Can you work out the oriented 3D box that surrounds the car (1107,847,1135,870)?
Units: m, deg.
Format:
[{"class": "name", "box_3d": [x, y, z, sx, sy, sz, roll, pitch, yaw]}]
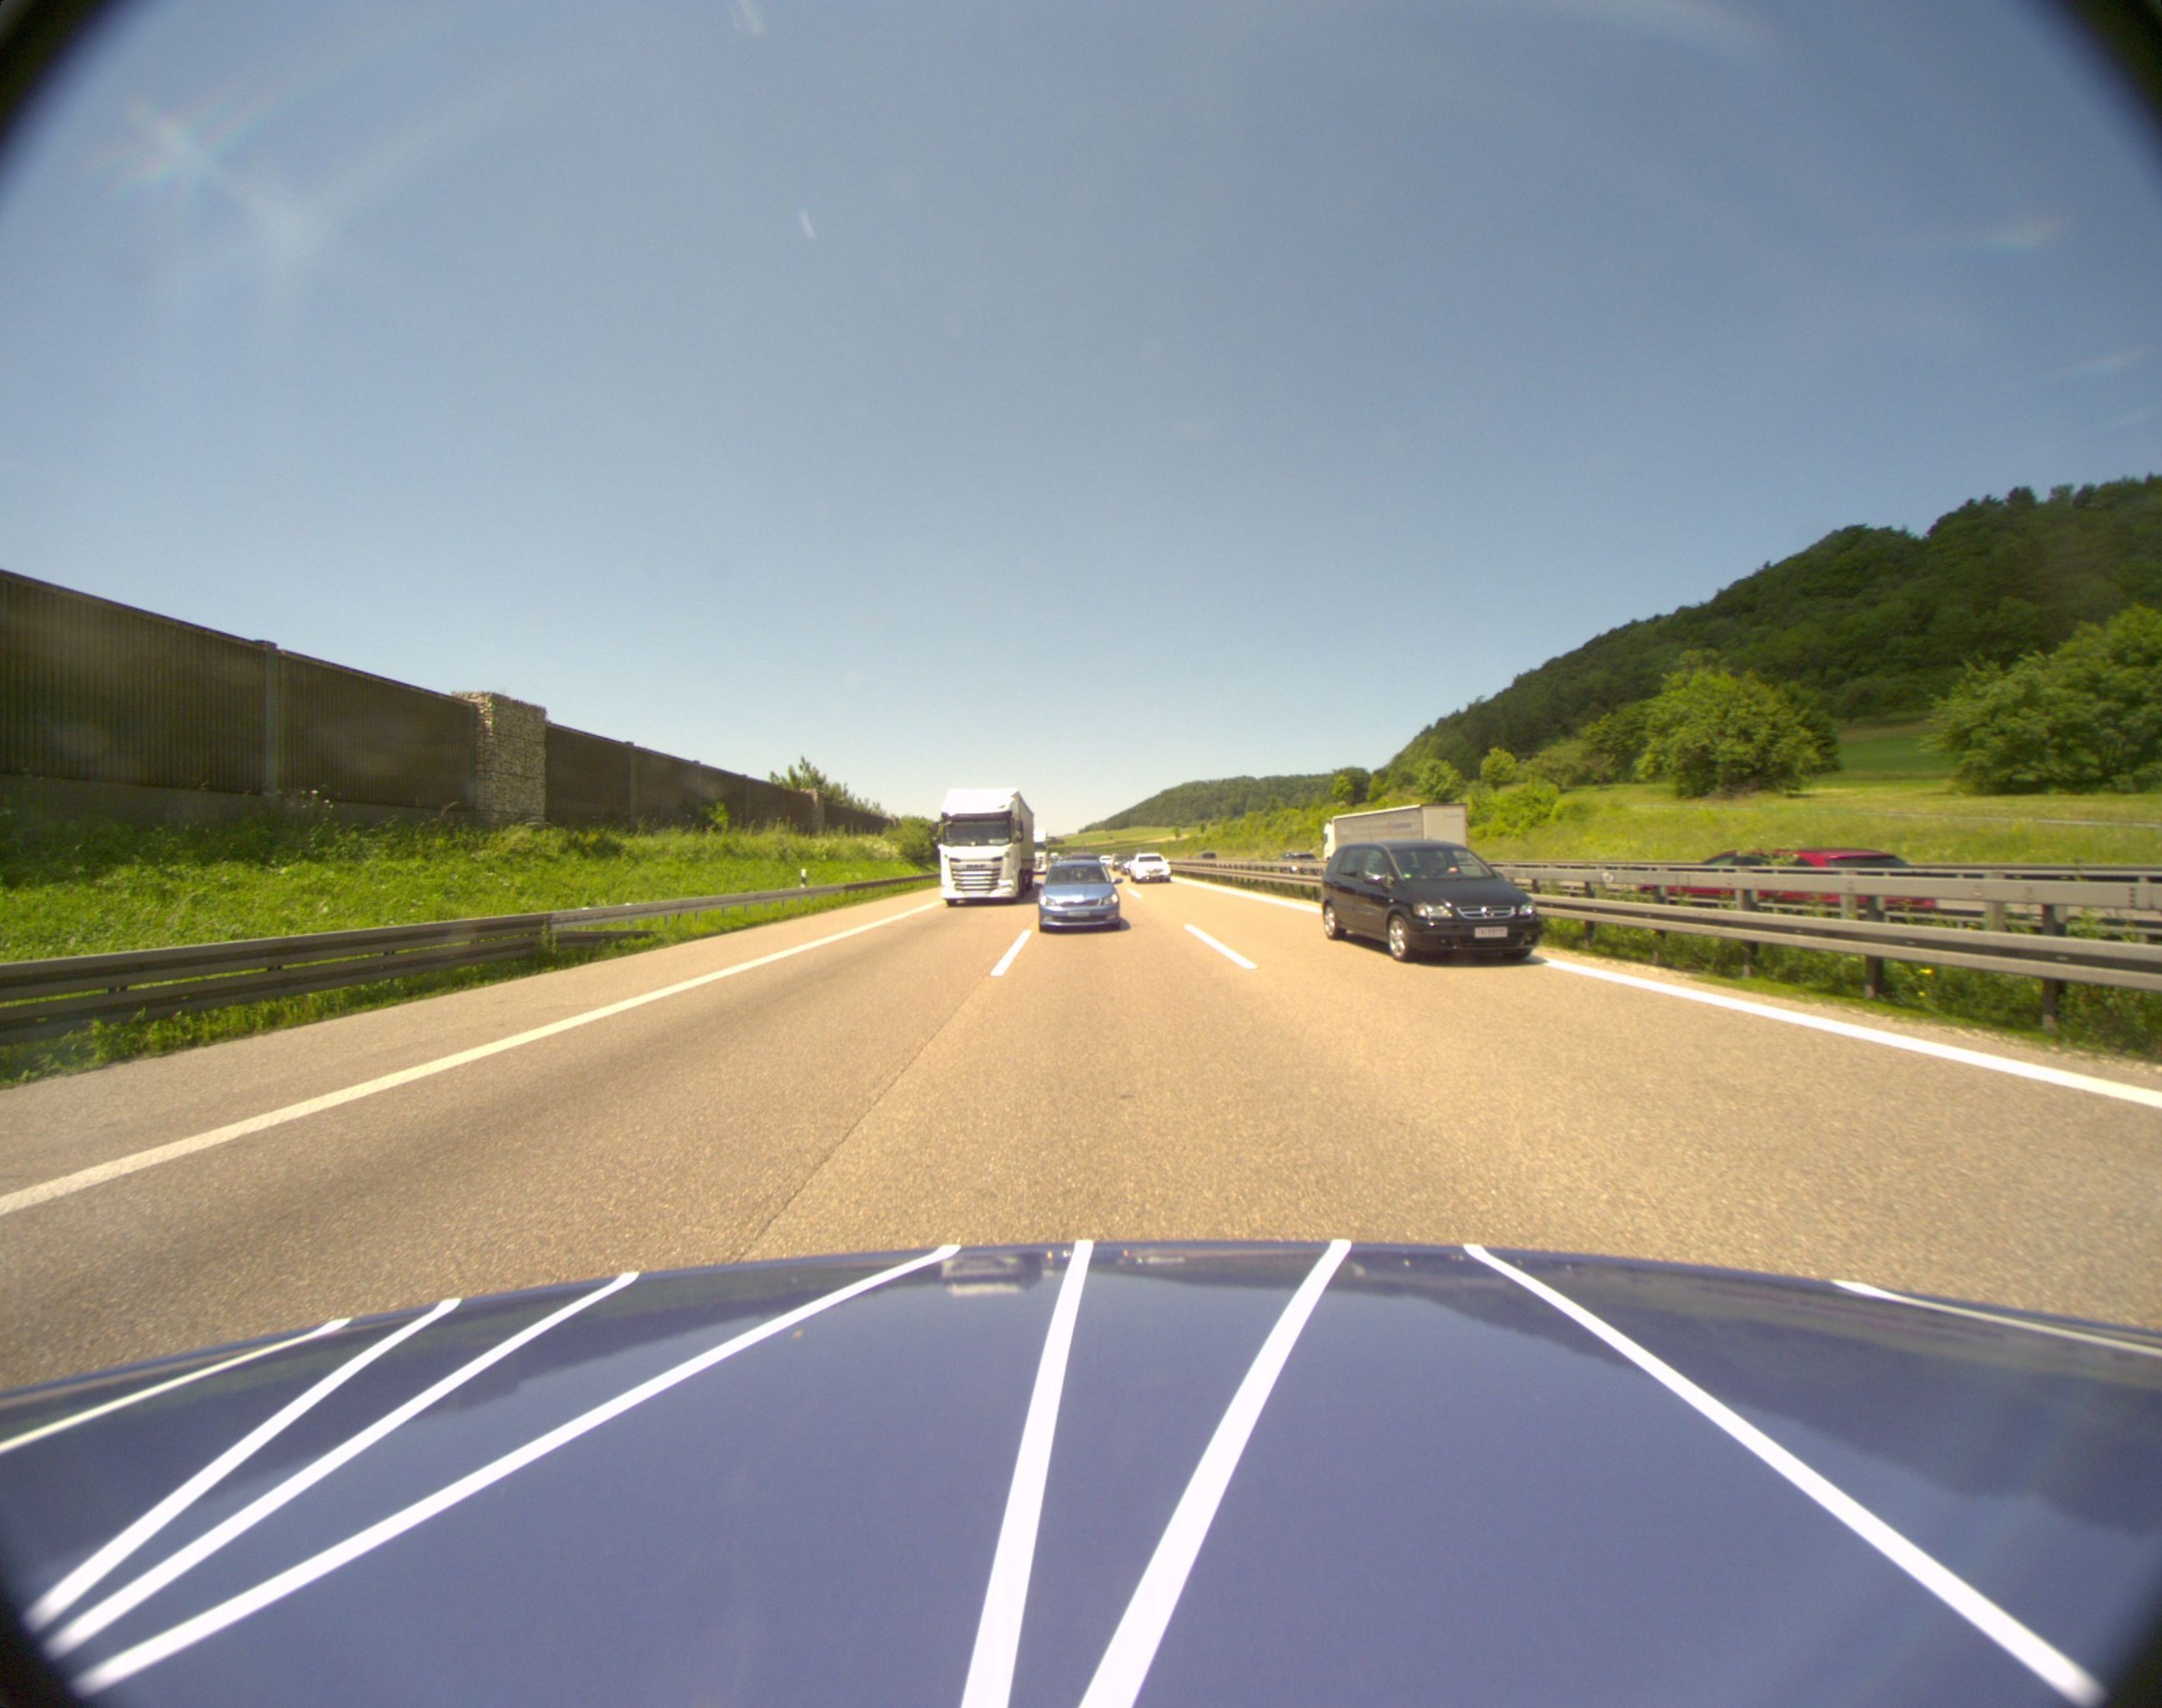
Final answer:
[{"class": "car", "box_3d": [3.106, 0.312, 59.349, 1.998, 1.692, 4.000, -2, 1, 1]}]

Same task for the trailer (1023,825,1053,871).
[{"class": "trailer", "box_3d": [-4.322, -0.594, 76.200, 2.545, 4.084, 13.622, -2, 1, -4]}]

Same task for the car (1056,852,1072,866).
[{"class": "car", "box_3d": [-2.230, 0.623, 99.984, 1.999, 1.702, 3.999, -2, 1, -2]}]

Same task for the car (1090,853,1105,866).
[{"class": "car", "box_3d": [2.331, 0.732, 104.746, 1.998, 1.702, 4.000, -2, 1, 1]}]

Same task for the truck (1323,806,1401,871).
[{"class": "truck", "box_3d": [19.841, -1.078, 54.167, 2.805, 4.207, 7.230, -2, 1, 0]}]

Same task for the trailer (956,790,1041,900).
[{"class": "trailer", "box_3d": [-3.350, -0.325, 34.545, 2.484, 3.954, 13.653, -1, 0, -1]}]

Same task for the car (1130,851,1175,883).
[{"class": "car", "box_3d": [3.878, 0.691, 41.748, 1.999, 1.612, 3.999, -2, 0, 0]}]

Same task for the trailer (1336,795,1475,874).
[{"class": "trailer", "box_3d": [19.826, -1.127, 47.834, 2.862, 4.167, 13.613, -2, 1, 0]}]

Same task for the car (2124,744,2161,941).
[{"class": "car", "box_3d": [16.656, -0.176, 8.156, 2.161, 2.846, 6.398, -2, 1, 1]}]

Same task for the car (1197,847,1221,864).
[{"class": "car", "box_3d": [14.896, 0.140, 88.533, 1.998, 1.842, 4.406, -2, 0, 1]}]

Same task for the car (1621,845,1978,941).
[{"class": "car", "box_3d": [12.412, 0.584, 13.708, 1.998, 1.378, 4.720, -2, 0, 1]}]

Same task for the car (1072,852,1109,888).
[{"class": "car", "box_3d": [0.449, 0.759, 38.379, 1.737, 1.674, 4.197, -1, 0, 0]}]

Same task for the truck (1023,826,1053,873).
[{"class": "truck", "box_3d": [-3.986, -0.434, 70.440, 2.532, 4.065, 6.077, -2, 1, -4]}]

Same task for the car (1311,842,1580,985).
[{"class": "car", "box_3d": [4.938, 0.692, 11.108, 1.805, 1.625, 4.446, -1, 0, 1]}]

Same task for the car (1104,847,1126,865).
[{"class": "car", "box_3d": [3.328, 0.171, 75.477, 1.998, 1.702, 4.000, -2, 1, 1]}]

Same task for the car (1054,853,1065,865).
[{"class": "car", "box_3d": [-4.144, 0.940, 146.351, 1.999, 2.002, 3.999, -2, 1, -2]}]

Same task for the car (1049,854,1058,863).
[{"class": "car", "box_3d": [-6.488, 1.115, 176.935, 1.999, 2.002, 3.999, -2, 1, -2]}]

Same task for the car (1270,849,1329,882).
[{"class": "car", "box_3d": [12.009, 0.592, 42.032, 1.851, 1.699, 4.282, -2, 0, -2]}]

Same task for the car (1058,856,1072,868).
[{"class": "car", "box_3d": [-2.365, 1.153, 110.277, 1.999, 1.702, 3.999, -2, 1, -2]}]

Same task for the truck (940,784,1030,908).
[{"class": "truck", "box_3d": [-3.311, -0.262, 27.753, 2.484, 3.954, 6.380, -1, 0, -1]}]

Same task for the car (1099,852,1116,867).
[{"class": "car", "box_3d": [3.304, 0.716, 94.131, 1.998, 1.702, 4.000, -2, 1, 1]}]

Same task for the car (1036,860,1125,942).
[{"class": "car", "box_3d": [-0.082, 0.926, 16.902, 1.660, 1.481, 4.652, -1, 0, -2]}]

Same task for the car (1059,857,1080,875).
[{"class": "car", "box_3d": [-1.213, 1.226, 79.627, 1.999, 1.702, 3.999, -2, 1, -2]}]
